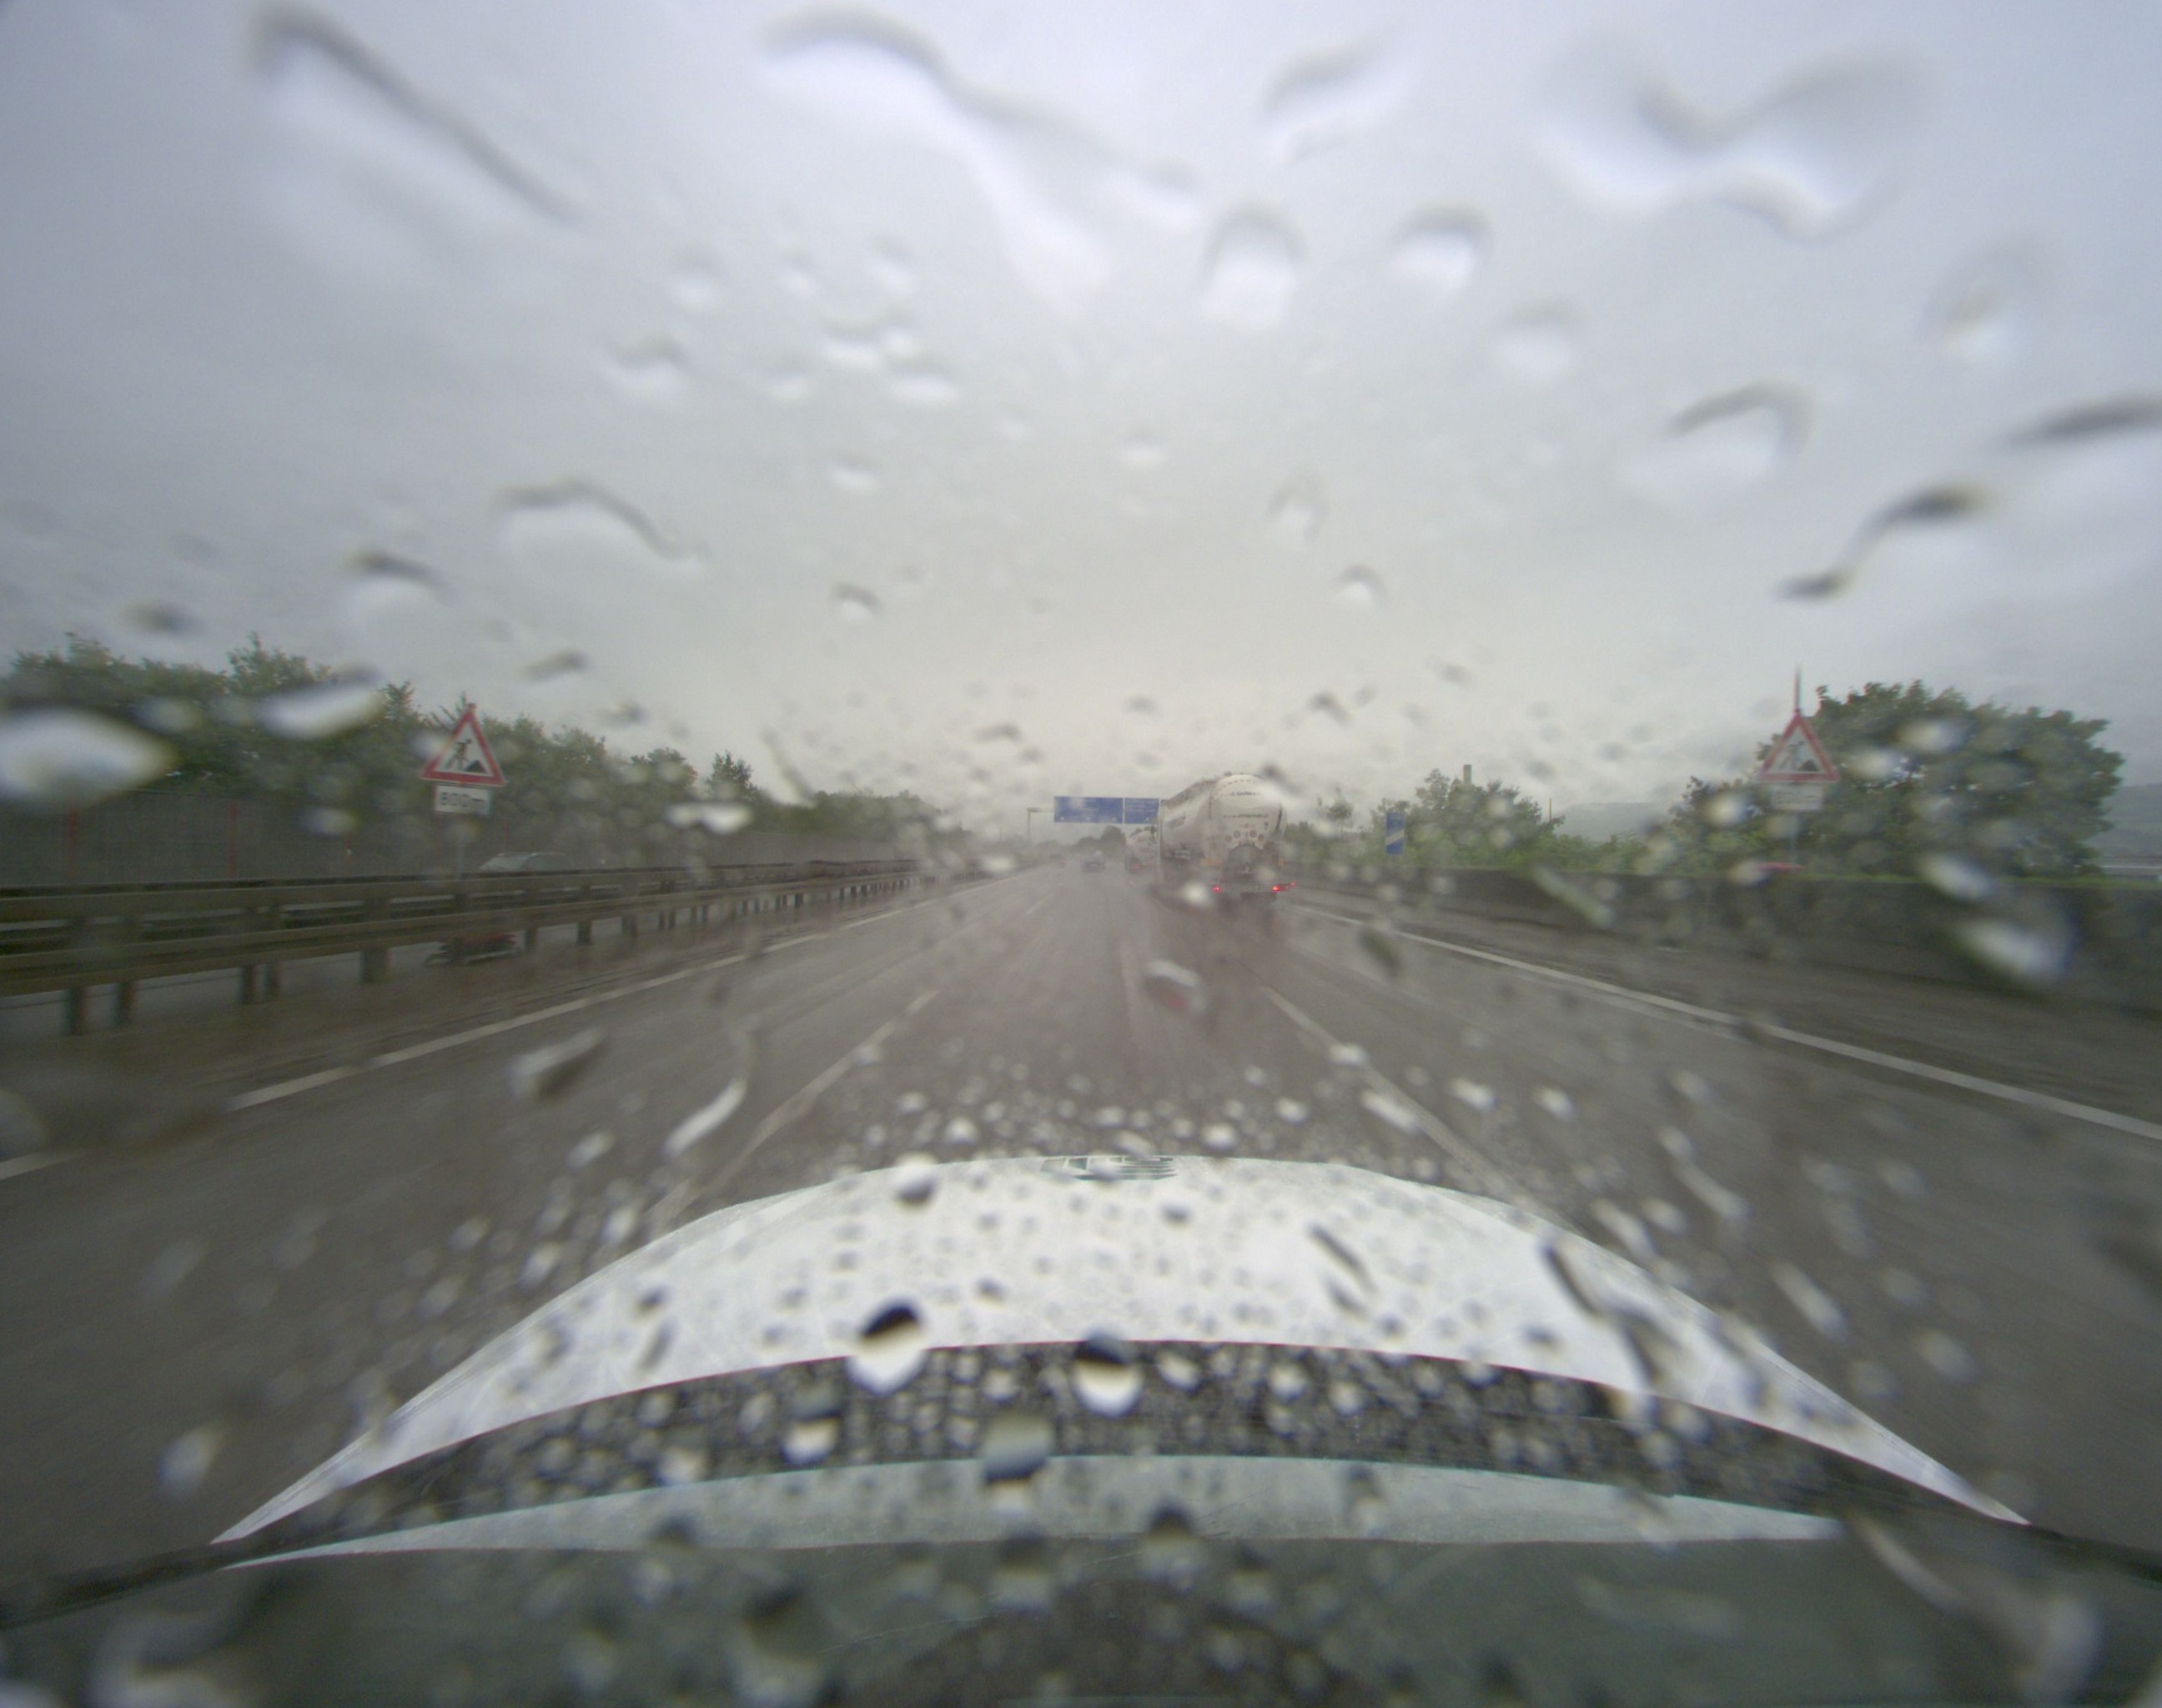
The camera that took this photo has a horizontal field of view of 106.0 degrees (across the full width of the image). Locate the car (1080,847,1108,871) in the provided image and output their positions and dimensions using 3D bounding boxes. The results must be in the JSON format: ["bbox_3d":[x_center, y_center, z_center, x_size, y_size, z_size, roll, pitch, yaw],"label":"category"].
[{"bbox_3d":[0.979,0.350,60.634,1.971,1.756,4.482,-1,0,1],"label":"car"}]

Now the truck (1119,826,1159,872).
[{"bbox_3d":[4.902,-0.410,70.001,2.934,3.684,6.359,0,0,-1],"label":"truck"}]

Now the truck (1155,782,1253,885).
[{"bbox_3d":[4.901,-0.777,33.874,3.094,3.806,7.213,0,0,1],"label":"truck"}]

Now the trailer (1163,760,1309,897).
[{"bbox_3d":[4.743,-0.715,27.696,3.176,3.670,11.672,0,0,2],"label":"trailer"}]

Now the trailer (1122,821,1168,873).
[{"bbox_3d":[4.960,-0.492,64.995,2.995,3.848,8.622,0,0,0],"label":"trailer"}]
